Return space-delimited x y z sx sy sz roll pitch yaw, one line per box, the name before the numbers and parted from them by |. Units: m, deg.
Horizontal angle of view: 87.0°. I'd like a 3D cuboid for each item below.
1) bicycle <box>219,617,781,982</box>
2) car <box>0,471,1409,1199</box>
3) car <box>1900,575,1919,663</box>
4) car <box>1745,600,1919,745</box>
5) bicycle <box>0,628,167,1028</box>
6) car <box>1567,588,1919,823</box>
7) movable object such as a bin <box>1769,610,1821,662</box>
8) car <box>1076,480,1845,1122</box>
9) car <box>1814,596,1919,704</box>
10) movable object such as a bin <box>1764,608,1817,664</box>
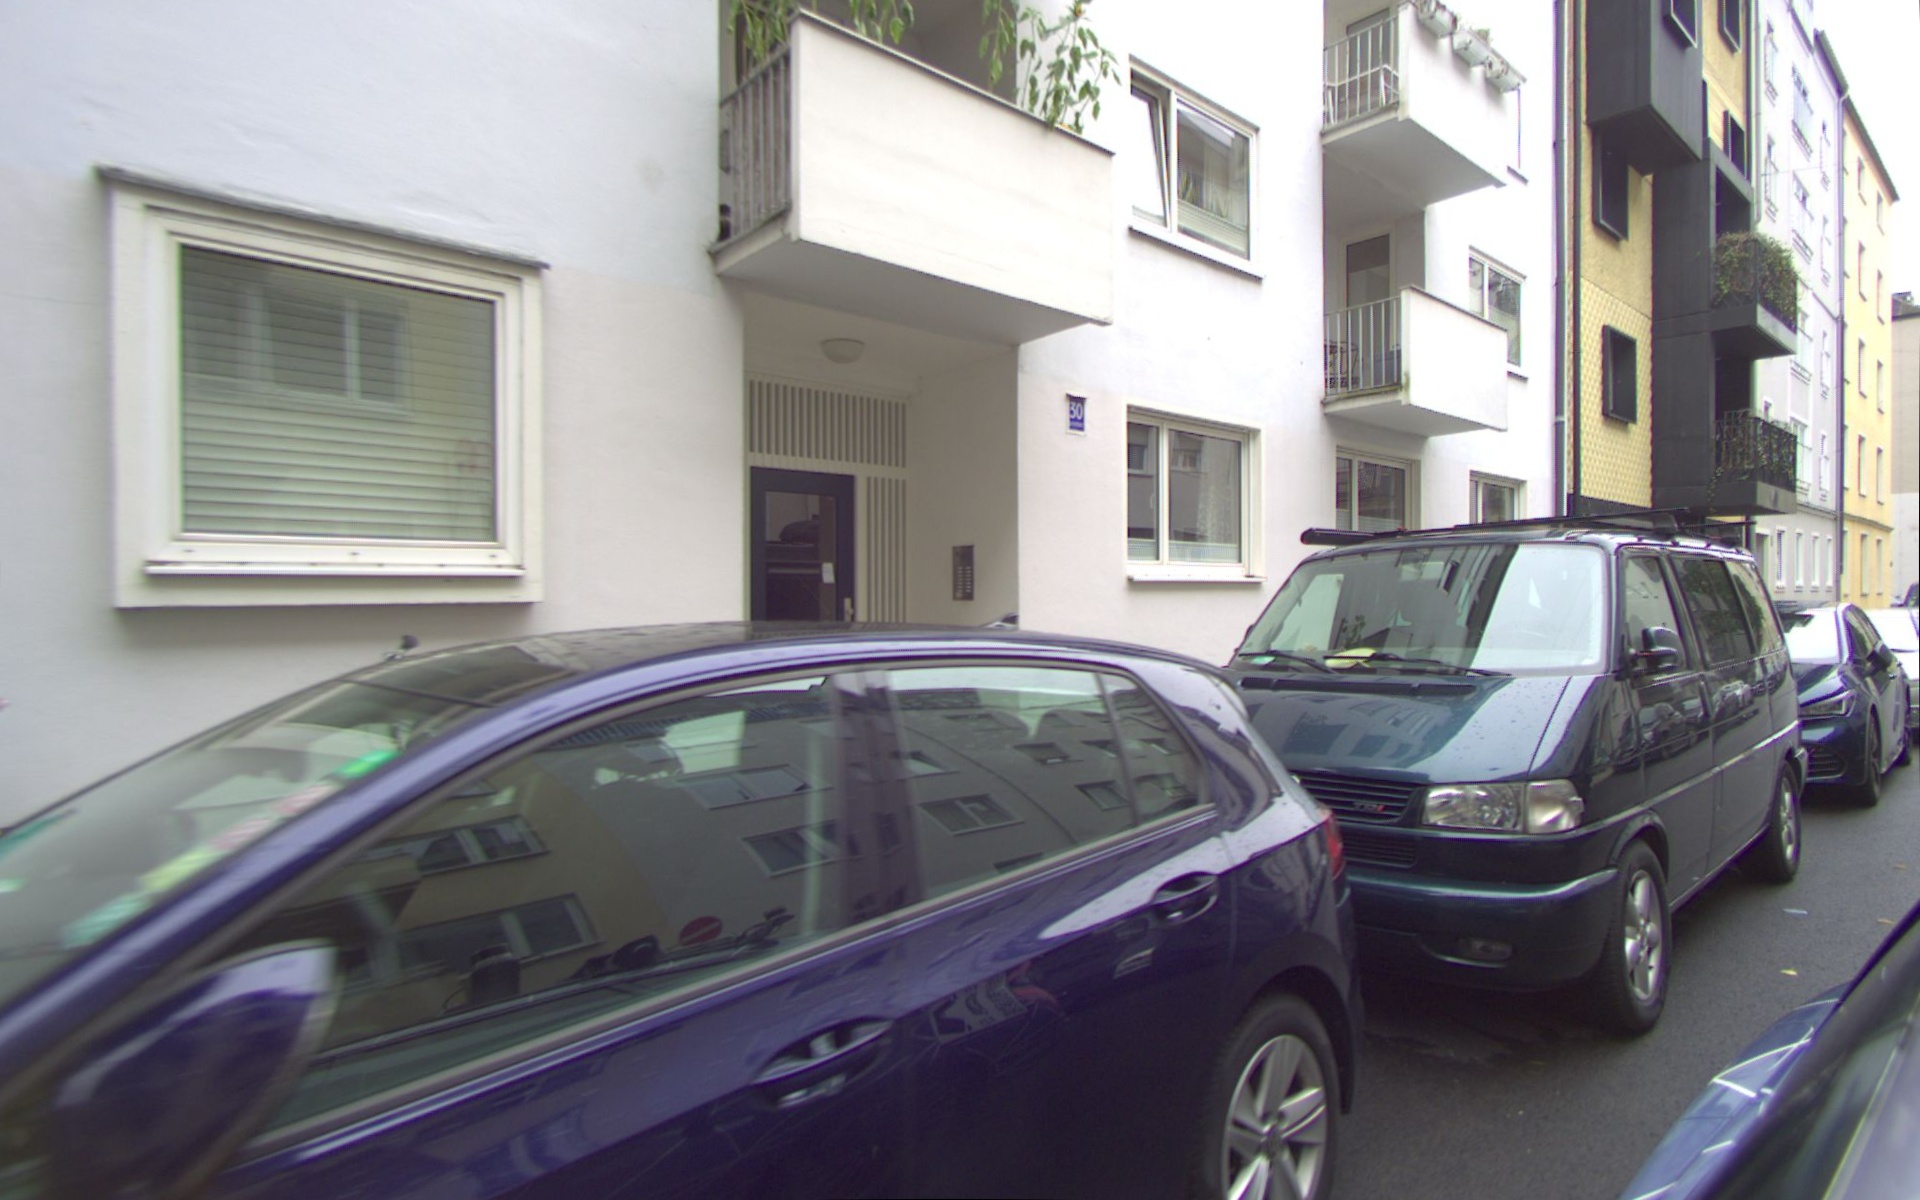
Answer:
bicycle | -1.902 0.709 4.518 2.211 1.235 0.623 0 -1 -44
car | -1.012 0.603 1.773 3.989 1.437 1.836 -1 1 -42
car | 22.642 0.346 22.528 5.094 1.862 1.985 -1 -1 -42
car | 11.142 0.771 12.347 4.190 1.449 1.761 -1 -2 -43
bicycle | -3.590 0.723 3.036 1.884 1.235 0.560 0 -1 -41
car | 7.326 0.691 9.123 4.545 1.573 1.908 -1 1 -41
movable object such as a bin | 18.160 0.771 22.013 0.537 1.067 0.796 -1 0 -42
car | 2.862 0.528 5.132 4.700 1.813 1.877 -1 1 -42
car | 14.617 0.690 15.592 4.131 1.447 1.736 -1 1 -43
movable object such as a bin | 17.757 0.751 21.642 0.564 1.154 0.796 -1 0 -42
